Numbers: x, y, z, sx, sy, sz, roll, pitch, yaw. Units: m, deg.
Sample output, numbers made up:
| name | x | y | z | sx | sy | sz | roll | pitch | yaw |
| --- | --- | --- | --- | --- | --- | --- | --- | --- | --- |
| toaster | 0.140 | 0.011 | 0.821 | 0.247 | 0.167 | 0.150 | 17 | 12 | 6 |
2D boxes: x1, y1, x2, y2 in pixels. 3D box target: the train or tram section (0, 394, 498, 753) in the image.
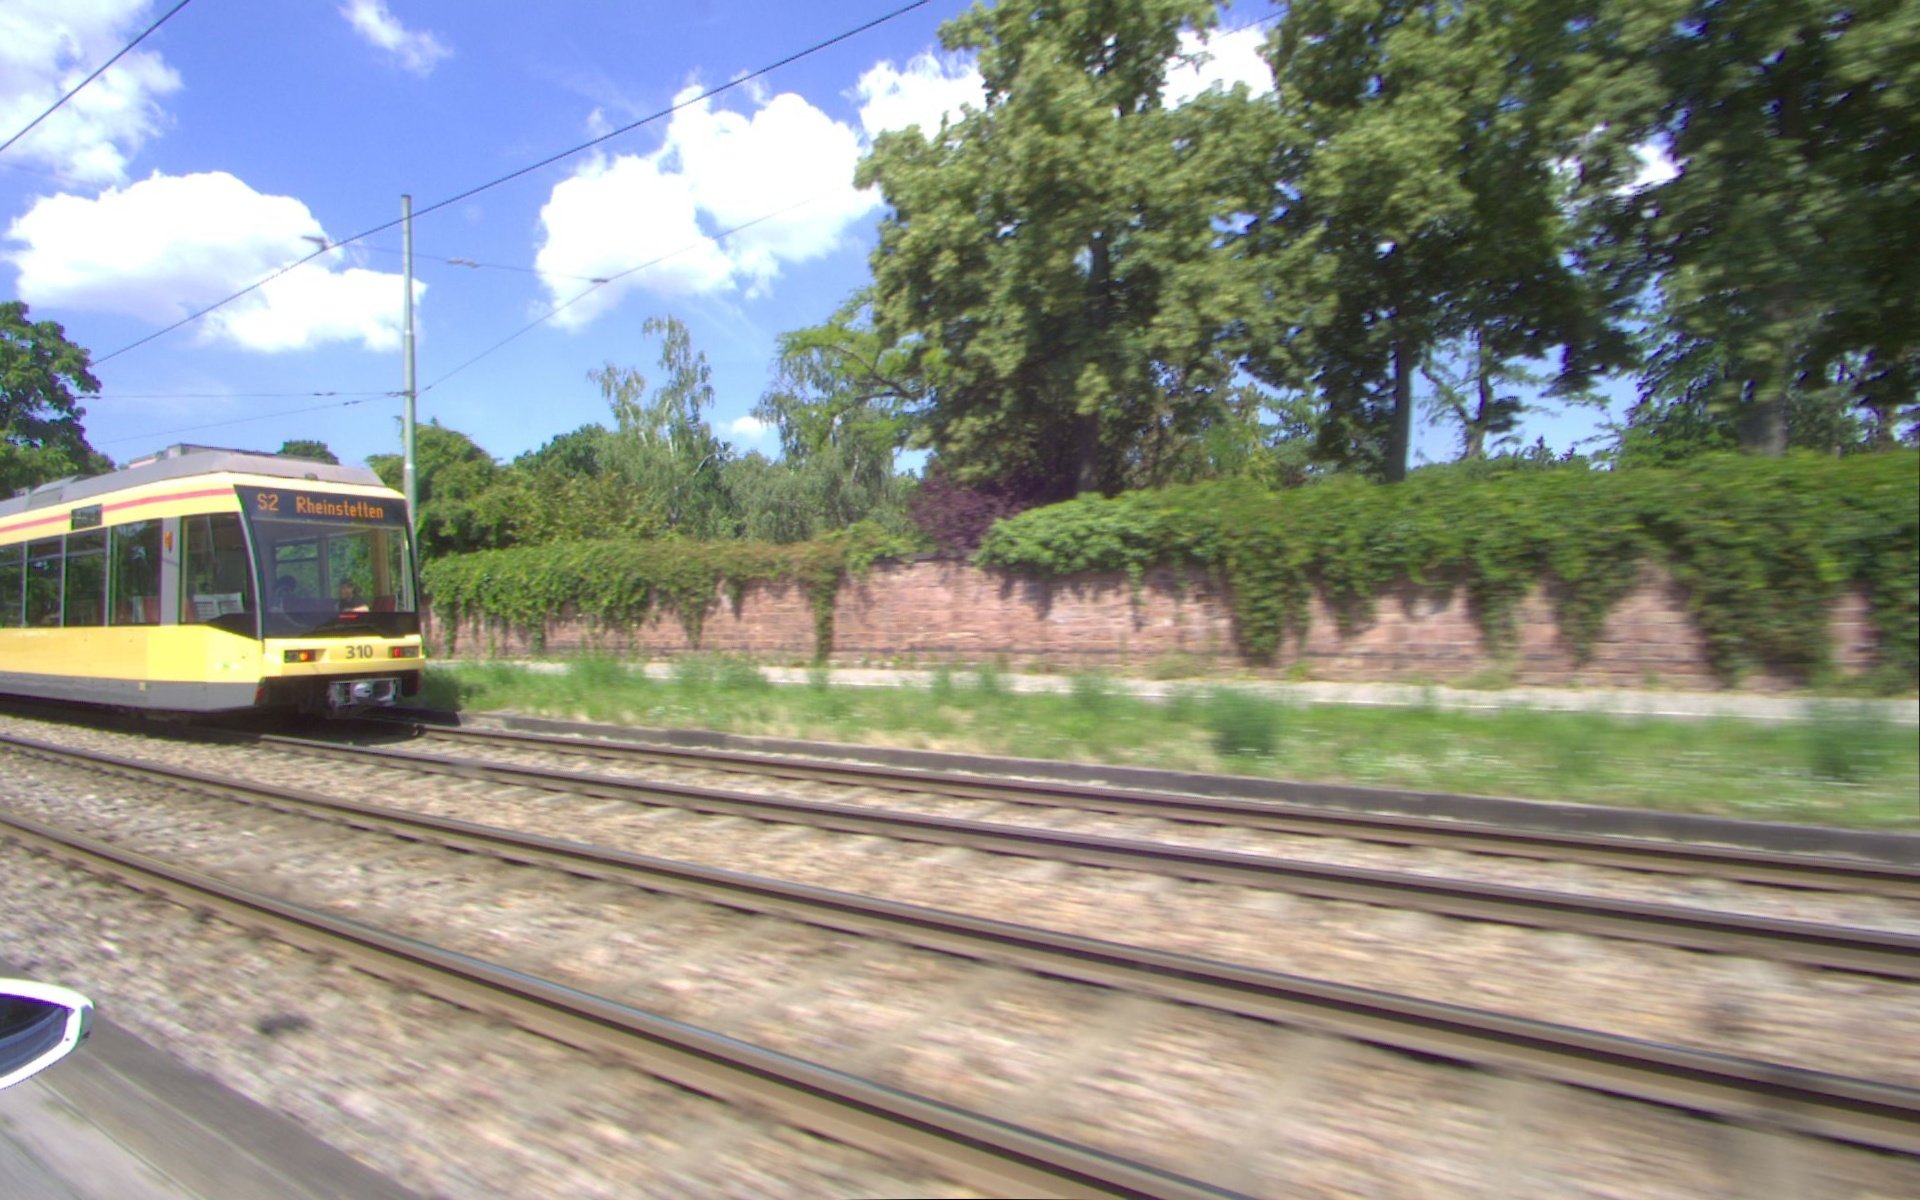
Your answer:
| name | x | y | z | sx | sy | sz | roll | pitch | yaw |
| --- | --- | --- | --- | --- | --- | --- | --- | --- | --- |
| train or tram section | -14.229 | -0.130 | 16.796 | 18.137 | 3.740 | 2.936 | -1 | -1 | 34 |

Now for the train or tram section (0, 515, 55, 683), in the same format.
| name | x | y | z | sx | sy | sz | roll | pitch | yaw |
| --- | --- | --- | --- | --- | --- | --- | --- | --- | --- |
| train or tram section | -29.858 | 0.113 | 27.652 | 20.011 | 3.740 | 2.935 | -1 | -1 | 35 |
